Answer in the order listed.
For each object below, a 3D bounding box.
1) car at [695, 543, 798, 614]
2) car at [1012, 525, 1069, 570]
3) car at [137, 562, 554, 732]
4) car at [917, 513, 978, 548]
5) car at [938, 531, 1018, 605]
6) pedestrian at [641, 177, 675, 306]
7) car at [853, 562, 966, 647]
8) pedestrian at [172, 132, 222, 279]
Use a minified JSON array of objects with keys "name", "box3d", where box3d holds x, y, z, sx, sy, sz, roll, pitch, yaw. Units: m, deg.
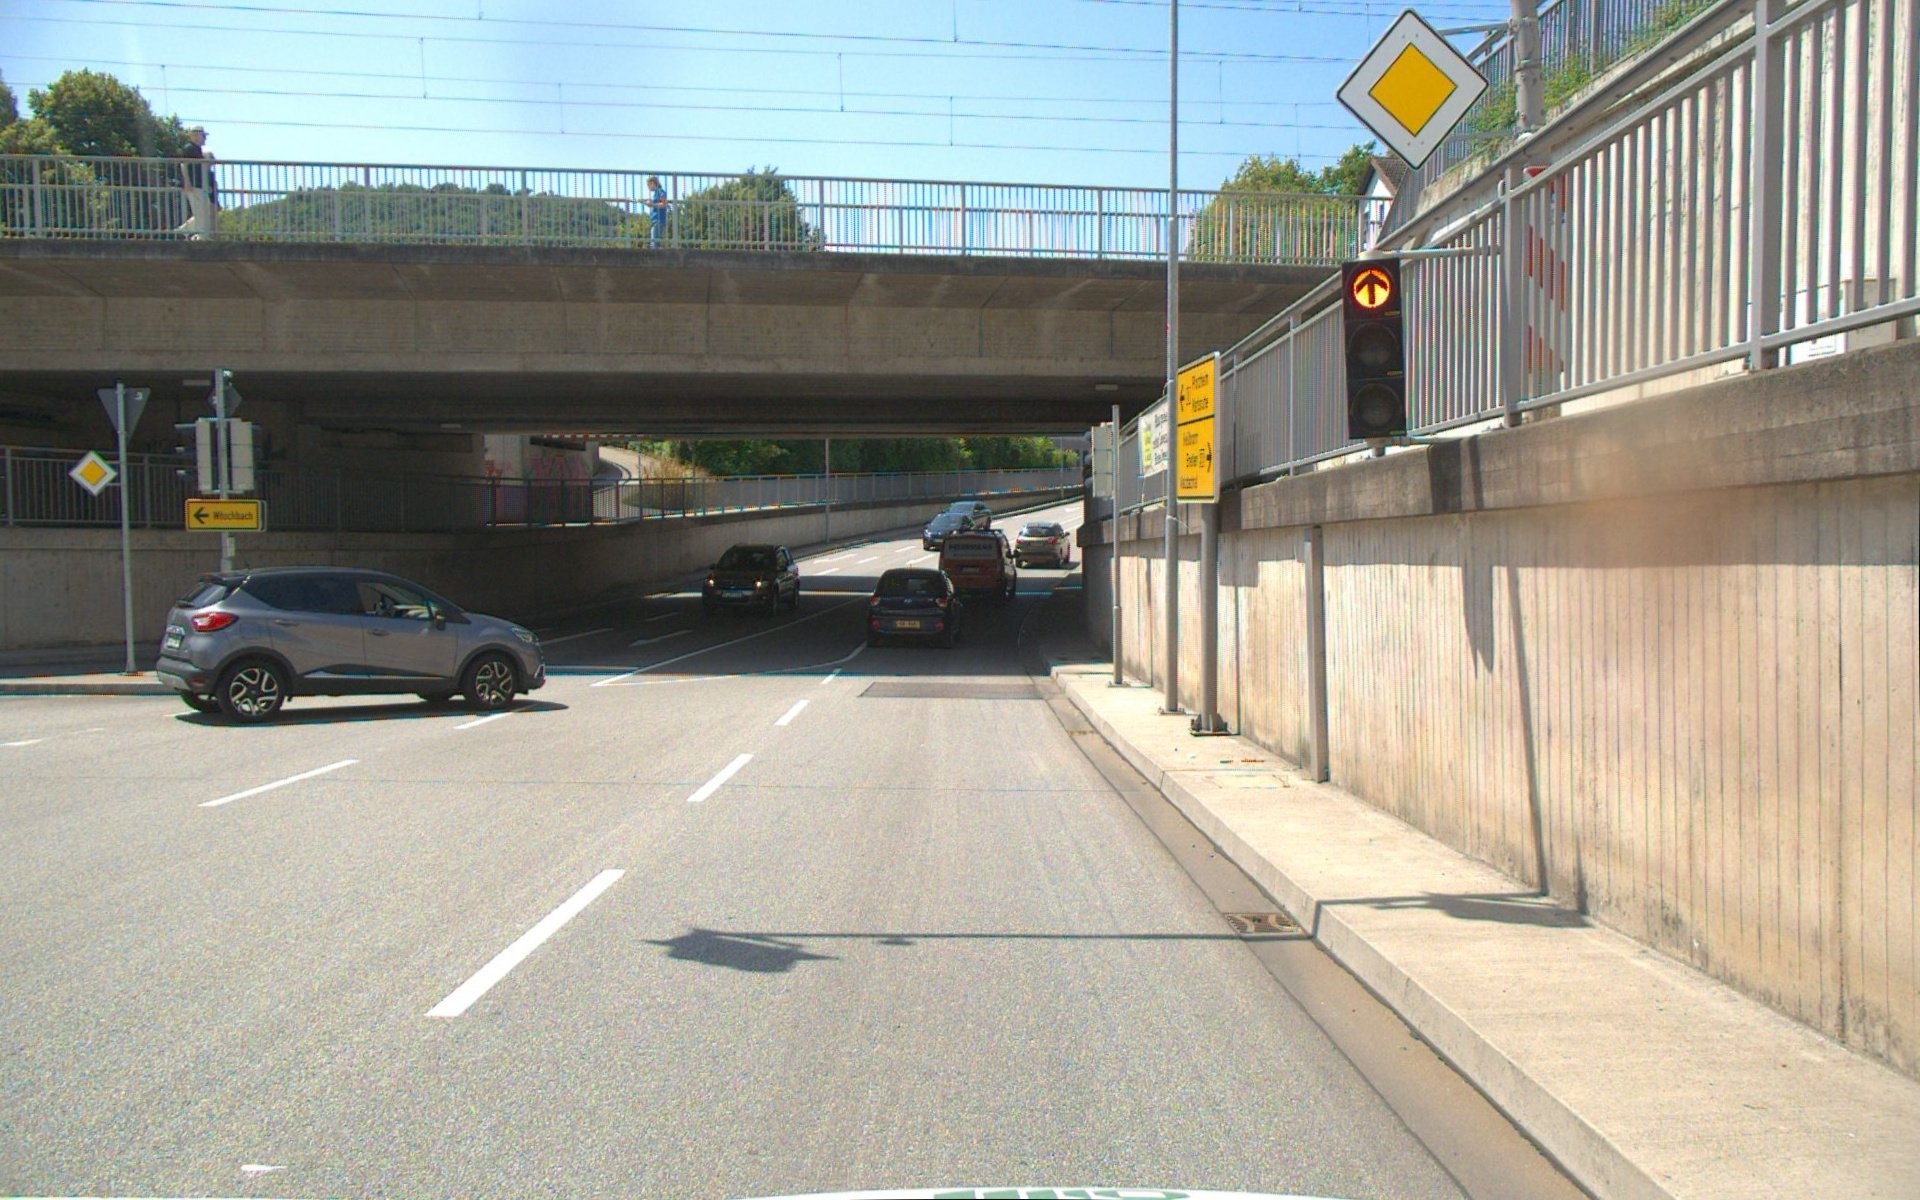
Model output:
[{"name":"car","box3d":[-5.291,-0.584,41.480,1.952,1.655,4.002,0,2,2]},{"name":"car","box3d":[3.080,-2.008,62.538,1.766,1.646,4.004,1,2,8]},{"name":"car","box3d":[-6.793,0.417,18.475,3.963,1.616,1.972,-2,3,-40]},{"name":"car","box3d":[-0.523,-2.995,70.895,1.744,1.461,4.004,1,3,13]},{"name":"car","box3d":[0.570,-0.959,46.917,1.833,1.965,4.724,0,2,6]},{"name":"pedestrian","box3d":[-5.226,-6.197,28.621,0.529,2.117,0.534,-1,0,-8]},{"name":"car","box3d":[-0.941,0.035,32.858,1.952,1.534,4.002,0,2,2]},{"name":"pedestrian","box3d":[-11.761,-6.072,25.502,0.565,2.117,0.534,-1,0,-11]}]
